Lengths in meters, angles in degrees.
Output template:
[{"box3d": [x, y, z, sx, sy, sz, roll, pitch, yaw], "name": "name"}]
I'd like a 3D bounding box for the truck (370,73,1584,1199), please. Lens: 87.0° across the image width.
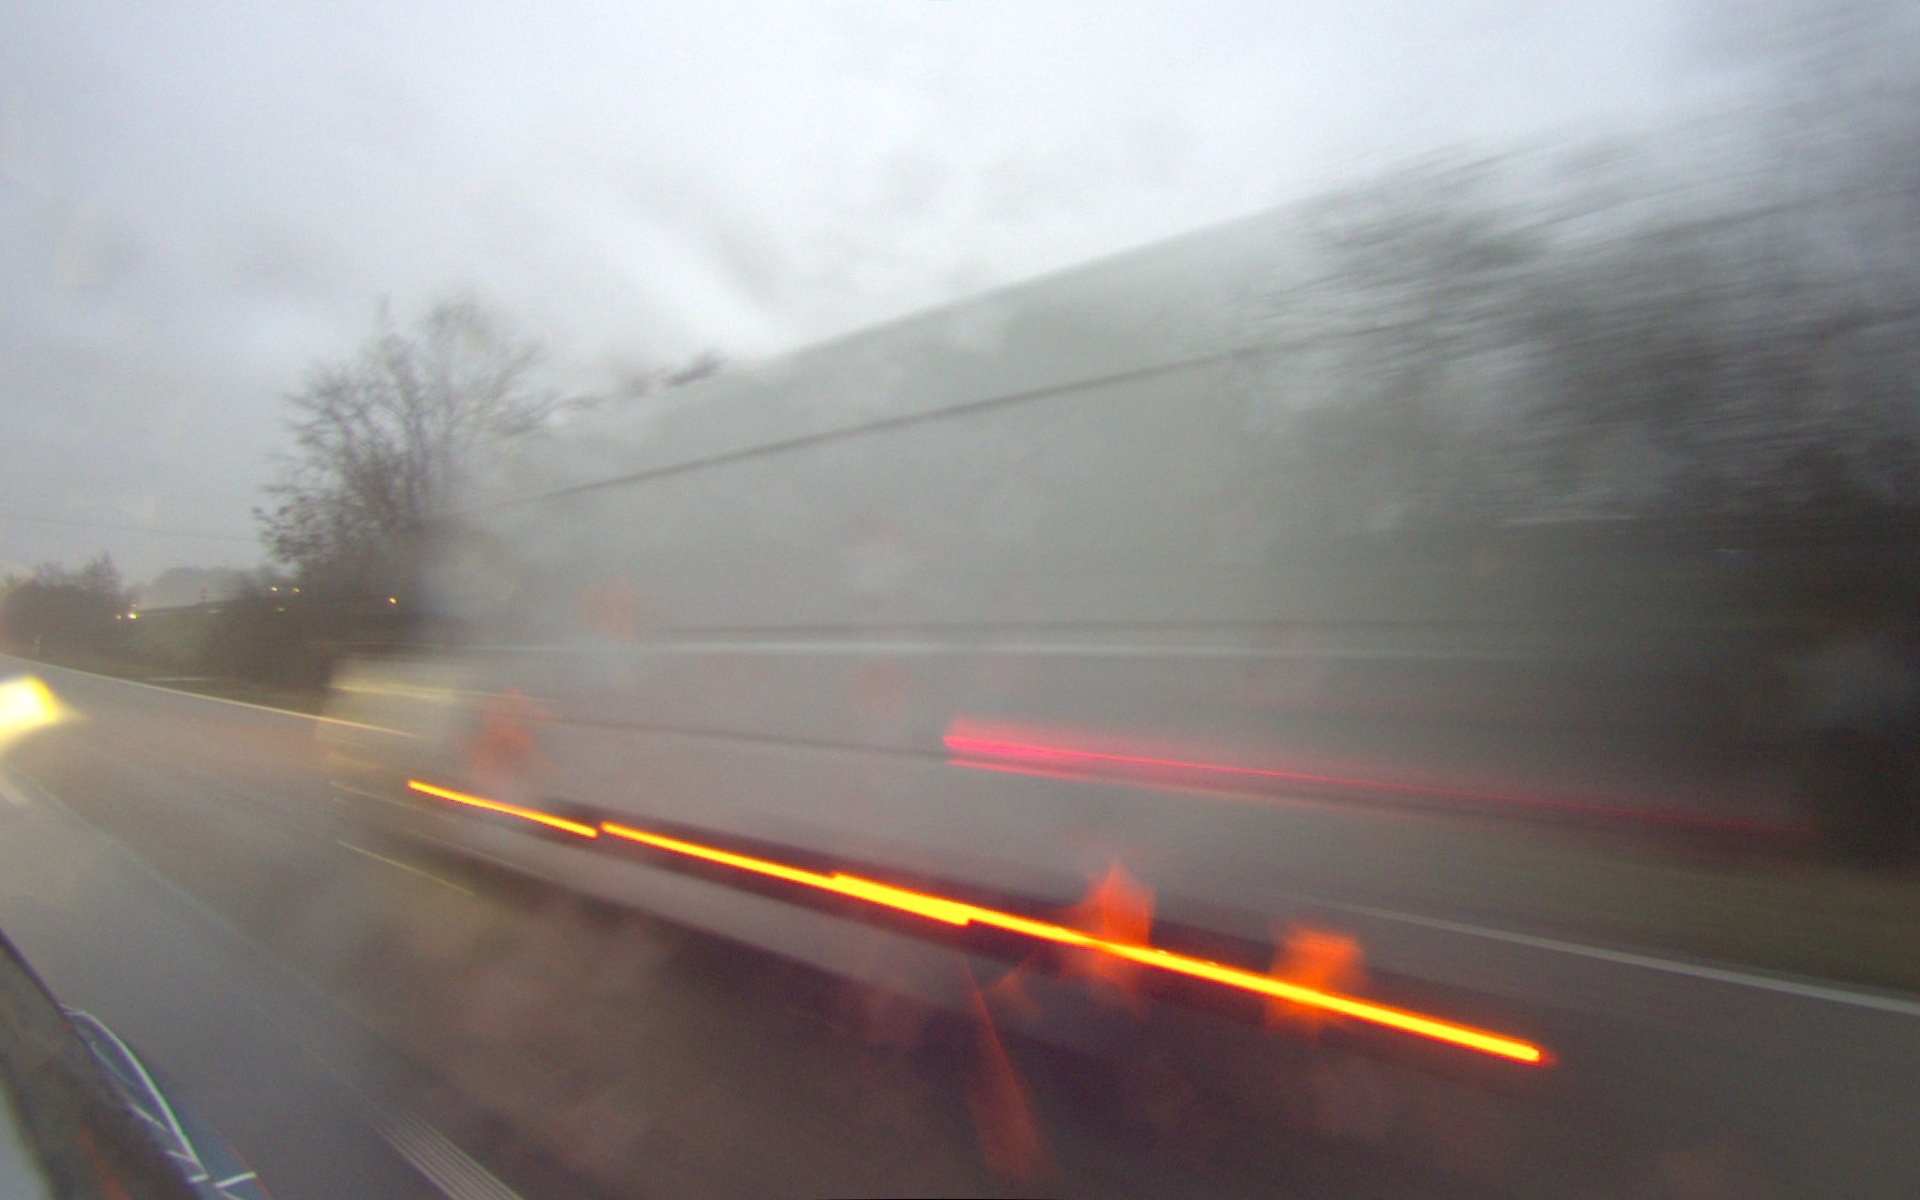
[{"box3d": [-0.476, 0.222, 4.623, 5.370, 2.486, 2.216, -1, -1, 41], "name": "truck"}]
